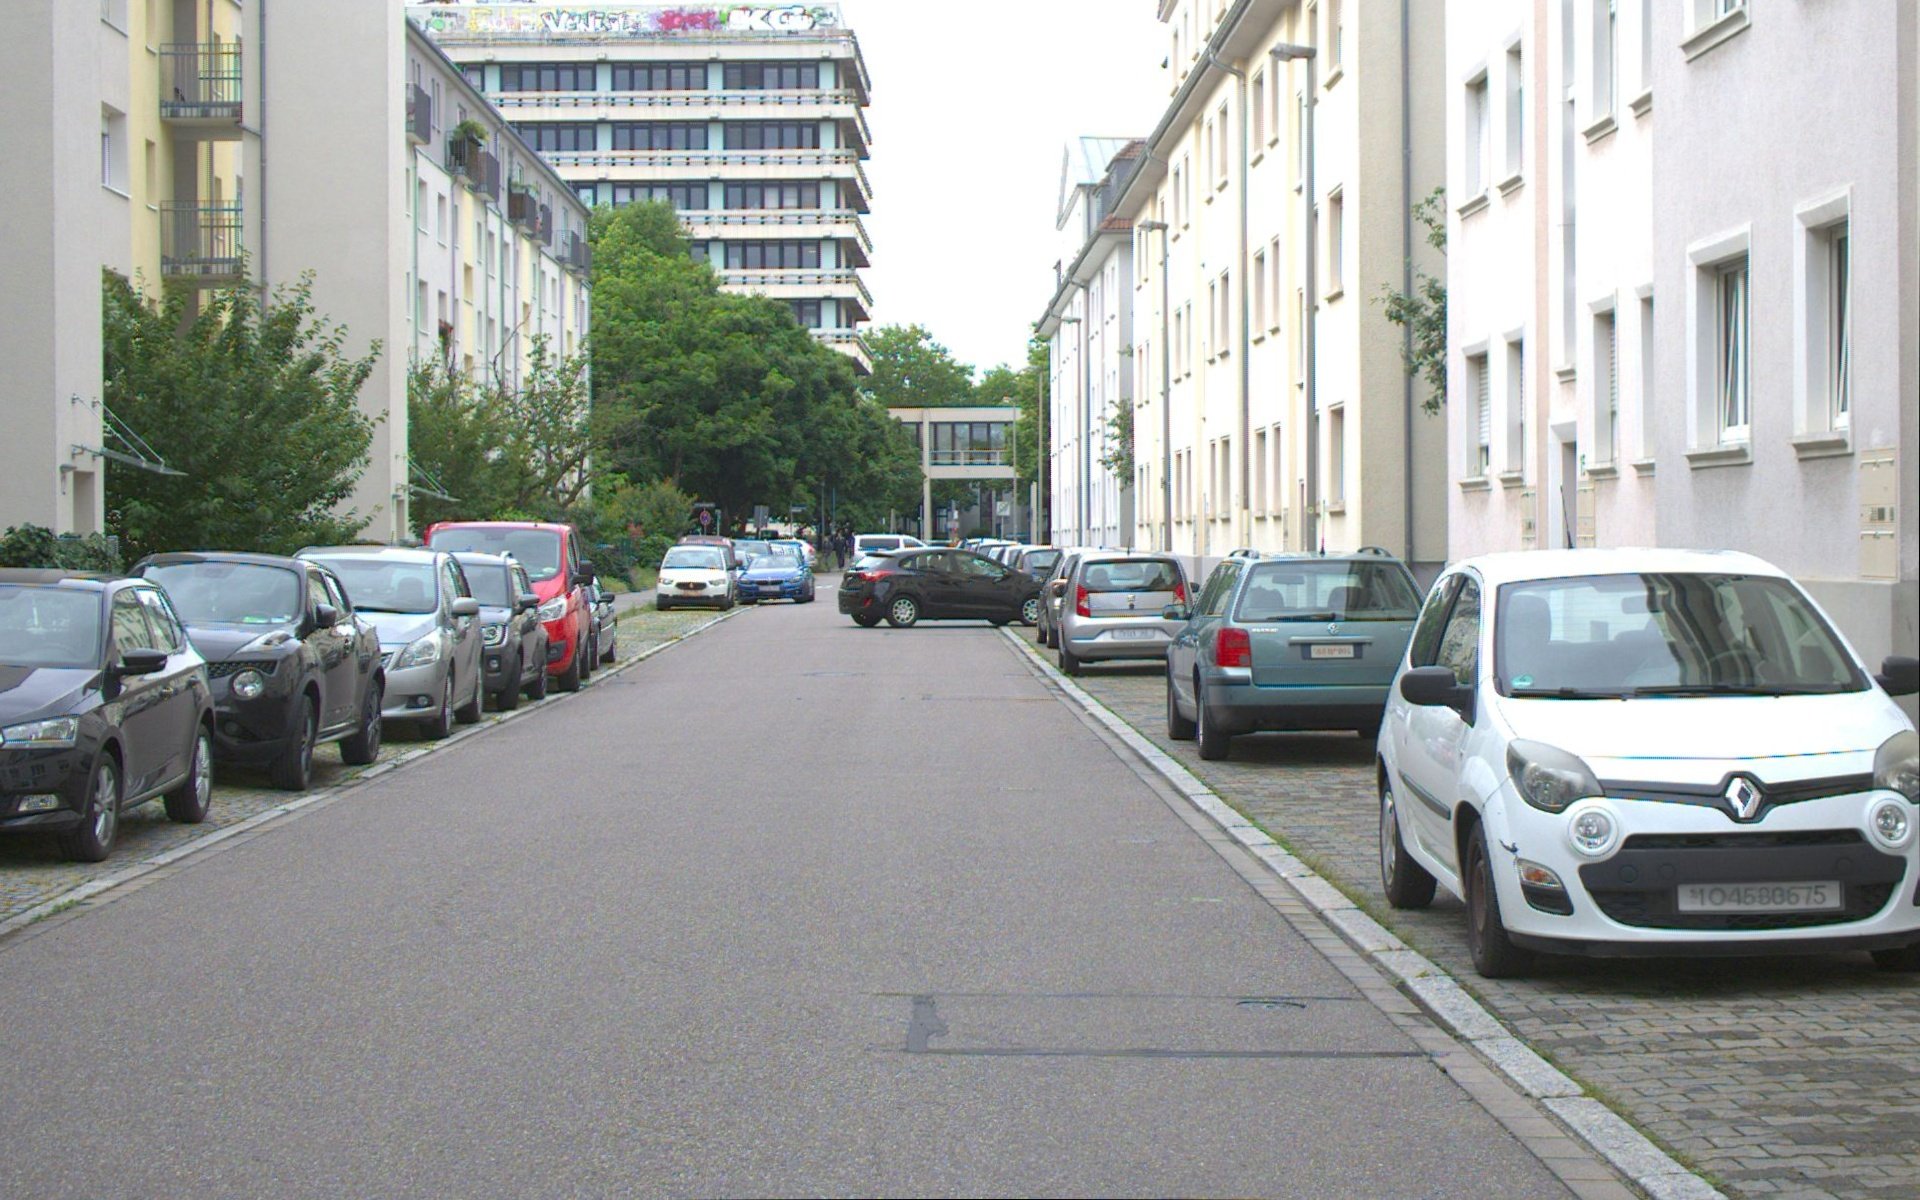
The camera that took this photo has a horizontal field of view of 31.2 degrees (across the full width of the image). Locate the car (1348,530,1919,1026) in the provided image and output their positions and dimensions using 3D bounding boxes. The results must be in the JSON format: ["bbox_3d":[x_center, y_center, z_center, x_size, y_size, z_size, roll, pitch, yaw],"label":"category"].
[{"bbox_3d":[2.588,0.543,13.107,1.783,1.593,3.805,-1,1,0],"label":"car"}]

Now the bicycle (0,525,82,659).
[{"bbox_3d":[-8.490,-0.087,31.709,0.551,1.188,1.728,-1,1,-8],"label":"bicycle"}]

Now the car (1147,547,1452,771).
[{"bbox_3d":[2.410,0.367,25.339,1.725,1.464,4.265,-1,1,-1],"label":"car"}]

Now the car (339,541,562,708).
[{"bbox_3d":[-5.188,0.205,35.444,1.720,1.564,4.054,2,1,-1],"label":"car"}]

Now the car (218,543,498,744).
[{"bbox_3d":[-5.202,0.315,30.287,1.834,1.564,4.862,2,1,-3],"label":"car"}]

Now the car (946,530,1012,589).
[{"bbox_3d":[0.526,-1.165,97.872,1.820,1.636,4.091,-1,1,0],"label":"car"}]

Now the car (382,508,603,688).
[{"bbox_3d":[-5.453,-0.070,40.686,2.151,1.947,4.922,2,1,-3],"label":"car"}]

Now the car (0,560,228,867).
[{"bbox_3d":[-5.205,0.527,18.693,1.643,1.433,3.857,2,1,-1],"label":"car"}]

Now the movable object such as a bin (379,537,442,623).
[{"bbox_3d":[-9.292,-0.352,58.180,0.803,1.424,1.288,1,1,3],"label":"movable object such as a bin"}]

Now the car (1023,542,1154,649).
[{"bbox_3d":[1.904,-0.102,52.052,1.725,1.512,4.061,-1,1,-1],"label":"car"}]

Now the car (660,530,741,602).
[{"bbox_3d":[-6.565,-0.888,87.313,1.956,1.764,4.362,1,1,-3],"label":"car"}]

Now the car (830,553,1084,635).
[{"bbox_3d":[-0.063,-0.129,62.733,4.218,1.428,1.910,-1,1,-19],"label":"car"}]

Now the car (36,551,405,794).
[{"bbox_3d":[-5.130,0.443,24.323,1.653,1.525,3.895,2,1,1],"label":"car"}]

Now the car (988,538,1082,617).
[{"bbox_3d":[1.488,-0.474,69.646,1.725,1.512,4.061,-1,1,-1],"label":"car"}]

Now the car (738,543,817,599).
[{"bbox_3d":[-4.891,-0.806,92.704,1.845,1.446,4.501,0,1,0],"label":"car"}]

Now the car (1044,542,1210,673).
[{"bbox_3d":[1.994,0.056,42.009,1.725,1.487,4.061,-1,1,-1],"label":"car"}]

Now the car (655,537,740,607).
[{"bbox_3d":[-6.190,-0.675,81.424,1.720,1.564,3.870,2,1,-1],"label":"car"}]

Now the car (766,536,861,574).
[{"bbox_3d":[-6.731,-2.078,157.517,4.193,1.646,1.897,-1,1,-7],"label":"car"}]

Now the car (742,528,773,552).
[{"bbox_3d":[-11.803,-3.511,200.956,1.665,1.328,3.396,0,1,-1],"label":"car"}]

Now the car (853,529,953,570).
[{"bbox_3d":[-2.566,-2.264,154.213,4.320,1.784,1.863,-1,1,-7],"label":"car"}]

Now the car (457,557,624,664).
[{"bbox_3d":[-5.654,0.111,46.748,1.870,1.319,4.362,1,1,-2],"label":"car"}]
